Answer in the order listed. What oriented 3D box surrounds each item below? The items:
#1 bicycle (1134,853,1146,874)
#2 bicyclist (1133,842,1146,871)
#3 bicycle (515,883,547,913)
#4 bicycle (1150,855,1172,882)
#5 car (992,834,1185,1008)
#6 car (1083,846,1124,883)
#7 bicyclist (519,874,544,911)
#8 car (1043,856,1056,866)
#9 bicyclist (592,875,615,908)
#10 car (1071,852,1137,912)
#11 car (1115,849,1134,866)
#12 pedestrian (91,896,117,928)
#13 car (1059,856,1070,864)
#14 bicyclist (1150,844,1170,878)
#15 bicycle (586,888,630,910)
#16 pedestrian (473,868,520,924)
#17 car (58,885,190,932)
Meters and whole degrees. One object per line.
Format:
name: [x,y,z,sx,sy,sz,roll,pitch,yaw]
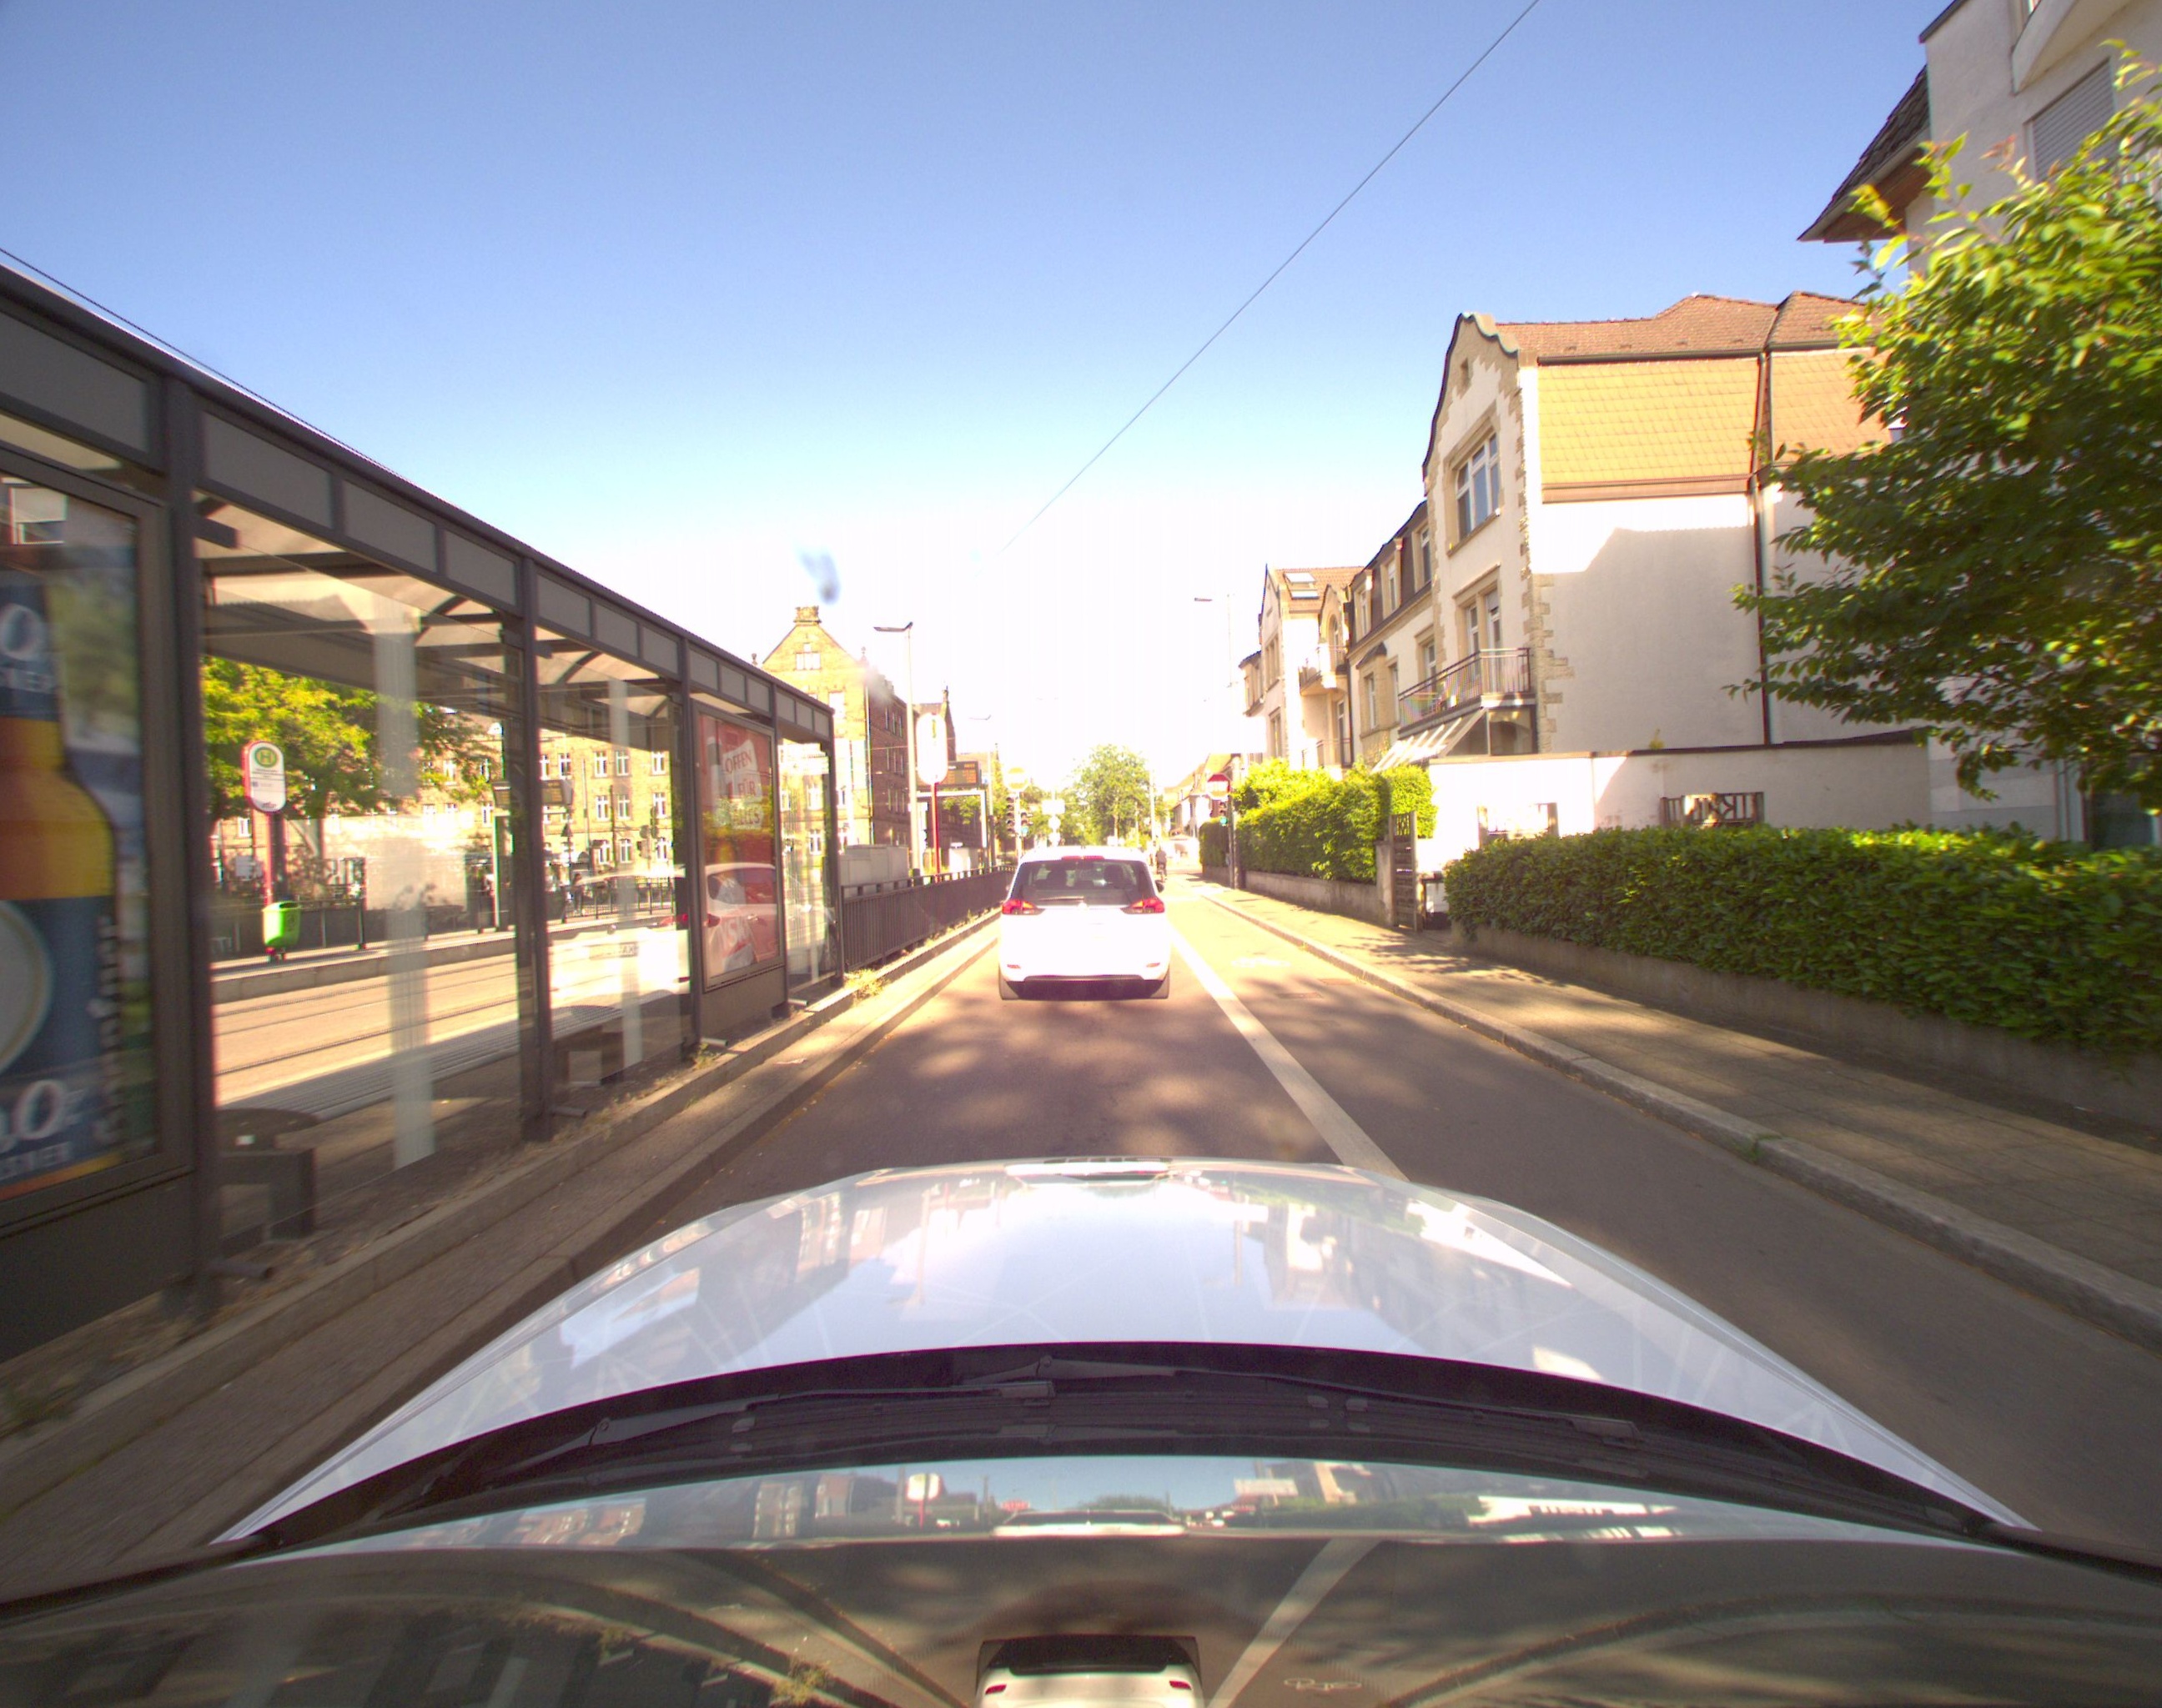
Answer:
bicycle: [3.485,0.550,48.240,0.682,1.157,1.621,-2,0,4]
bicyclist: [3.479,0.149,48.301,0.682,1.634,1.017,-2,-1,4]
bicycle: [-20.812,1.656,30.853,0.694,1.049,1.656,-1,0,-24]
bicycle: [3.629,0.642,37.243,0.826,1.154,2.095,-2,0,1]
car: [0.161,0.657,9.851,1.827,1.642,3.921,-2,0,2]
car: [1.058,0.473,38.049,1.769,1.632,3.882,-2,0,2]
bicyclist: [-20.834,1.455,30.889,0.692,1.383,0.530,-1,-1,-25]
car: [-4.793,1.048,123.407,1.574,1.441,3.588,-2,0,4]
bicyclist: [-24.354,1.911,41.513,0.632,1.636,0.802,-2,-1,2]
car: [0.698,0.687,22.115,1.579,1.420,3.904,-3,0,4]
car: [4.271,0.352,79.487,1.768,1.632,3.885,-2,0,4]
pedestrian: [-51.121,3.021,42.622,0.713,1.598,0.539,-2,-1,2]
car: [-2.881,1.101,146.239,1.574,1.441,3.588,-2,0,4]
bicyclist: [3.611,0.330,37.213,0.818,1.501,0.934,-2,-1,1]
bicycle: [-24.110,2.291,41.500,1.728,1.013,0.802,-2,0,1]
pedestrian: [-20.177,1.445,28.128,0.723,1.861,1.097,-2,-1,4]
car: [-55.640,3.133,47.428,5.011,2.453,2.261,-2,0,1]
